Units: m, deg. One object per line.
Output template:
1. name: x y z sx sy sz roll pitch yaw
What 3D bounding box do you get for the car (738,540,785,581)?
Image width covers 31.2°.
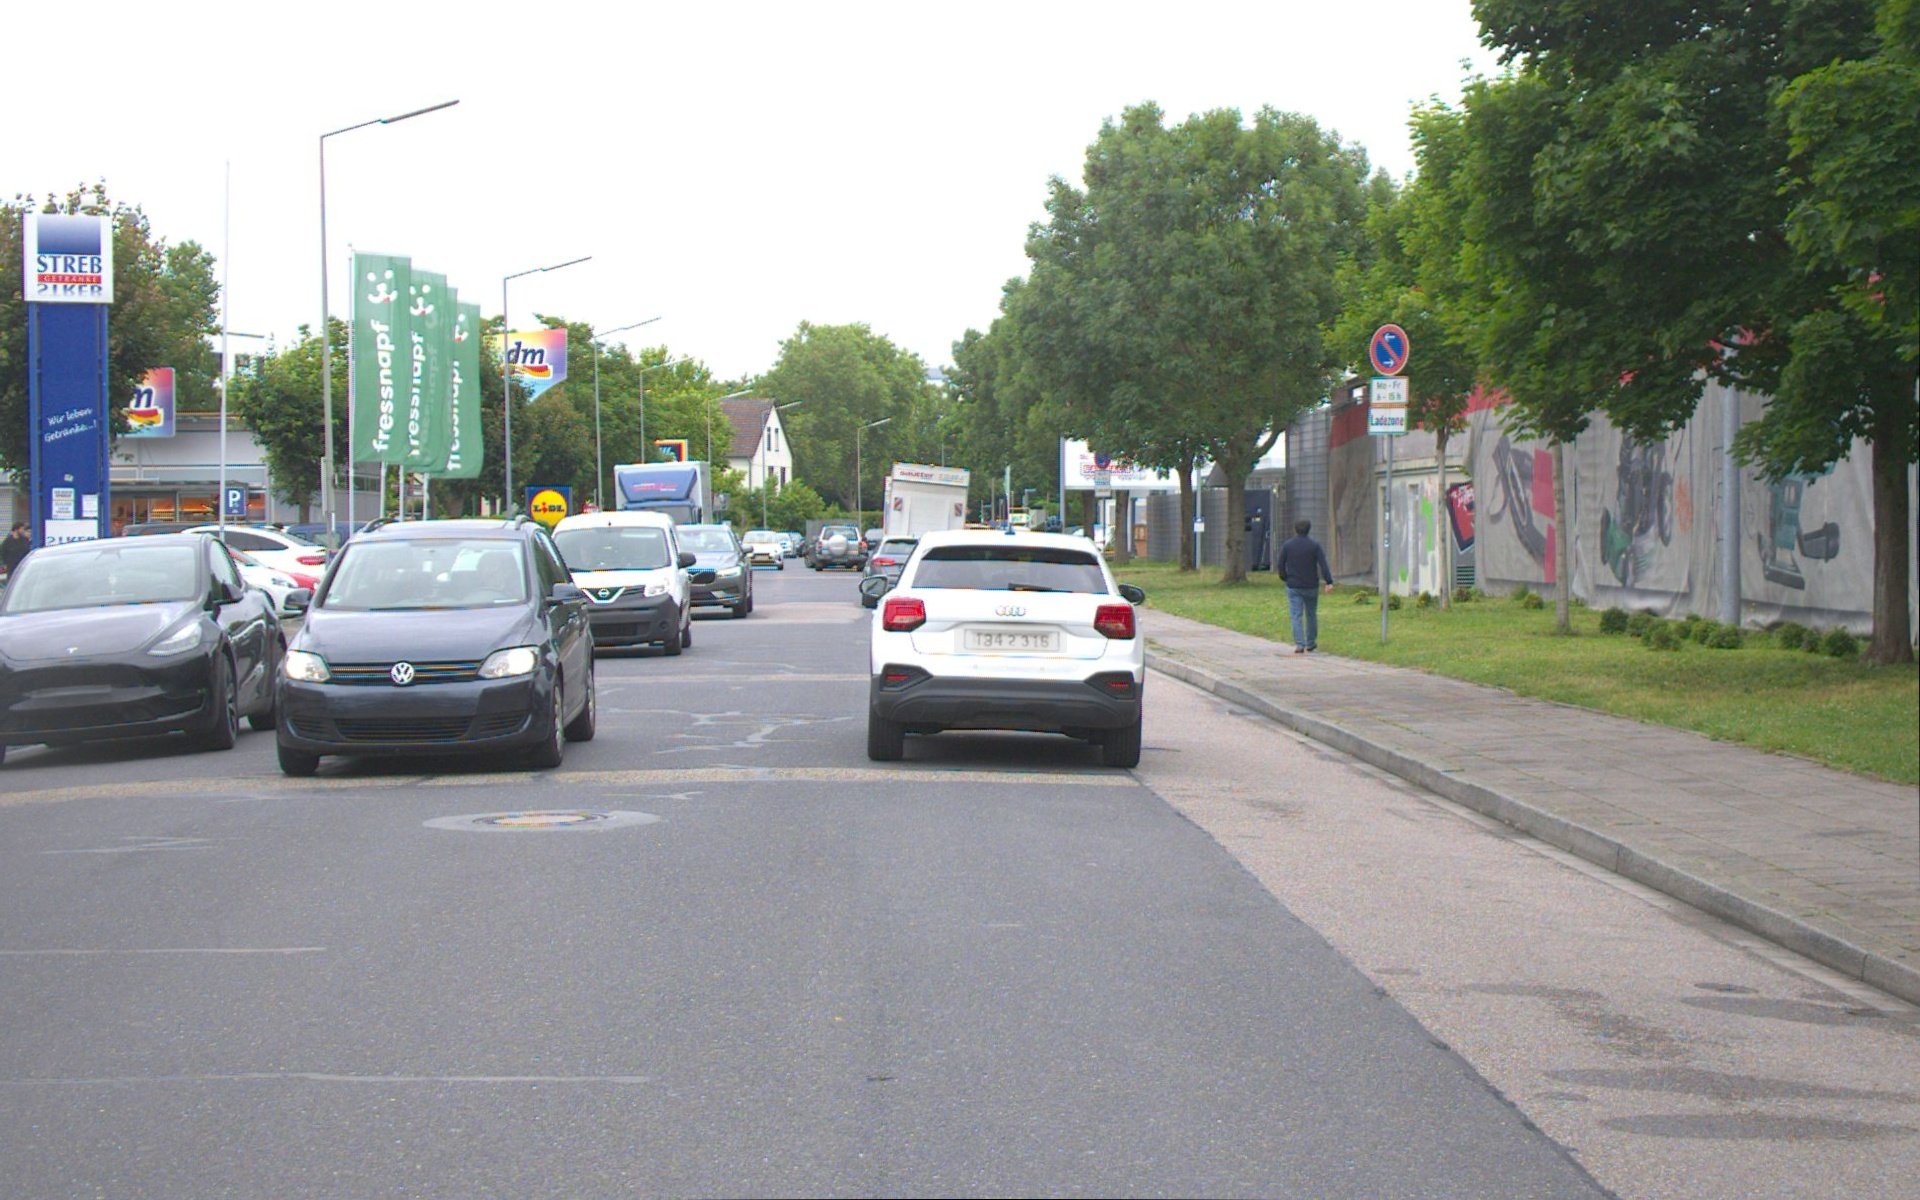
1. car: -7.550 -1.506 131.141 1.599 1.523 3.528 -2 1 -1

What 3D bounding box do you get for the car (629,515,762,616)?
1. car: -4.650 -0.633 60.958 1.933 1.678 4.495 -1 1 1

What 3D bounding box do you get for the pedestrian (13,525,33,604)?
1. pedestrian: -18.619 -0.704 68.305 0.359 1.564 0.504 -1 1 -15

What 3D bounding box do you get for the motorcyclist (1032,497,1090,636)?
1. motorcyclist: 1.126 -0.378 38.465 0.625 1.548 0.604 0 1 0

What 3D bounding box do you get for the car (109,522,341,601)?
1. car: -13.929 -0.741 65.318 4.134 1.458 1.899 -1 1 -7

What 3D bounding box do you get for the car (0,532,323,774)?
1. car: -6.119 0.336 25.495 1.946 1.521 4.403 -4 1 -1

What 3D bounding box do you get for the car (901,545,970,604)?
1. car: -0.810 -0.813 109.406 1.993 1.799 4.001 1 1 -3

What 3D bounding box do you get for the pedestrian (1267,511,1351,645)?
1. pedestrian: 4.301 -0.273 42.470 0.919 1.629 0.853 1 0 0

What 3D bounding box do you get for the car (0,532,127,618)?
1. car: -16.856 -0.430 60.340 4.202 1.458 1.953 -1 1 -9

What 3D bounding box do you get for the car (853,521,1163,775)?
1. car: 0.263 0.254 23.528 1.886 1.526 4.254 2 1 -1

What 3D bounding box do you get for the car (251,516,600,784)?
1. car: -3.420 0.257 22.644 1.729 1.566 3.947 -1 1 -1

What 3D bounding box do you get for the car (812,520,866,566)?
1. car: -4.492 -2.125 126.884 1.869 1.656 4.001 -1 1 -3

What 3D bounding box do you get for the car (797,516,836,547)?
1. car: -7.942 -3.797 189.833 1.774 1.649 3.749 1 1 -8

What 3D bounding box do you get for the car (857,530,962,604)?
1. car: -1.012 -0.666 66.788 1.937 1.362 4.001 -1 1 -2

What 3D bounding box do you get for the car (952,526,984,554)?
1. car: 0.473 -3.712 213.168 1.886 1.677 4.254 2 1 -1

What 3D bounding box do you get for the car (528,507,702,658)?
1. car: -4.283 -0.259 43.204 1.689 1.755 4.135 -2 1 0

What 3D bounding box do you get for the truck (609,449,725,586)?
1. truck: -8.819 -2.501 104.175 2.973 3.942 6.405 -2 1 -1

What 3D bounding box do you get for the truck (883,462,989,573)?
1. truck: -0.893 -2.780 118.487 3.134 3.572 10.052 1 1 -3
